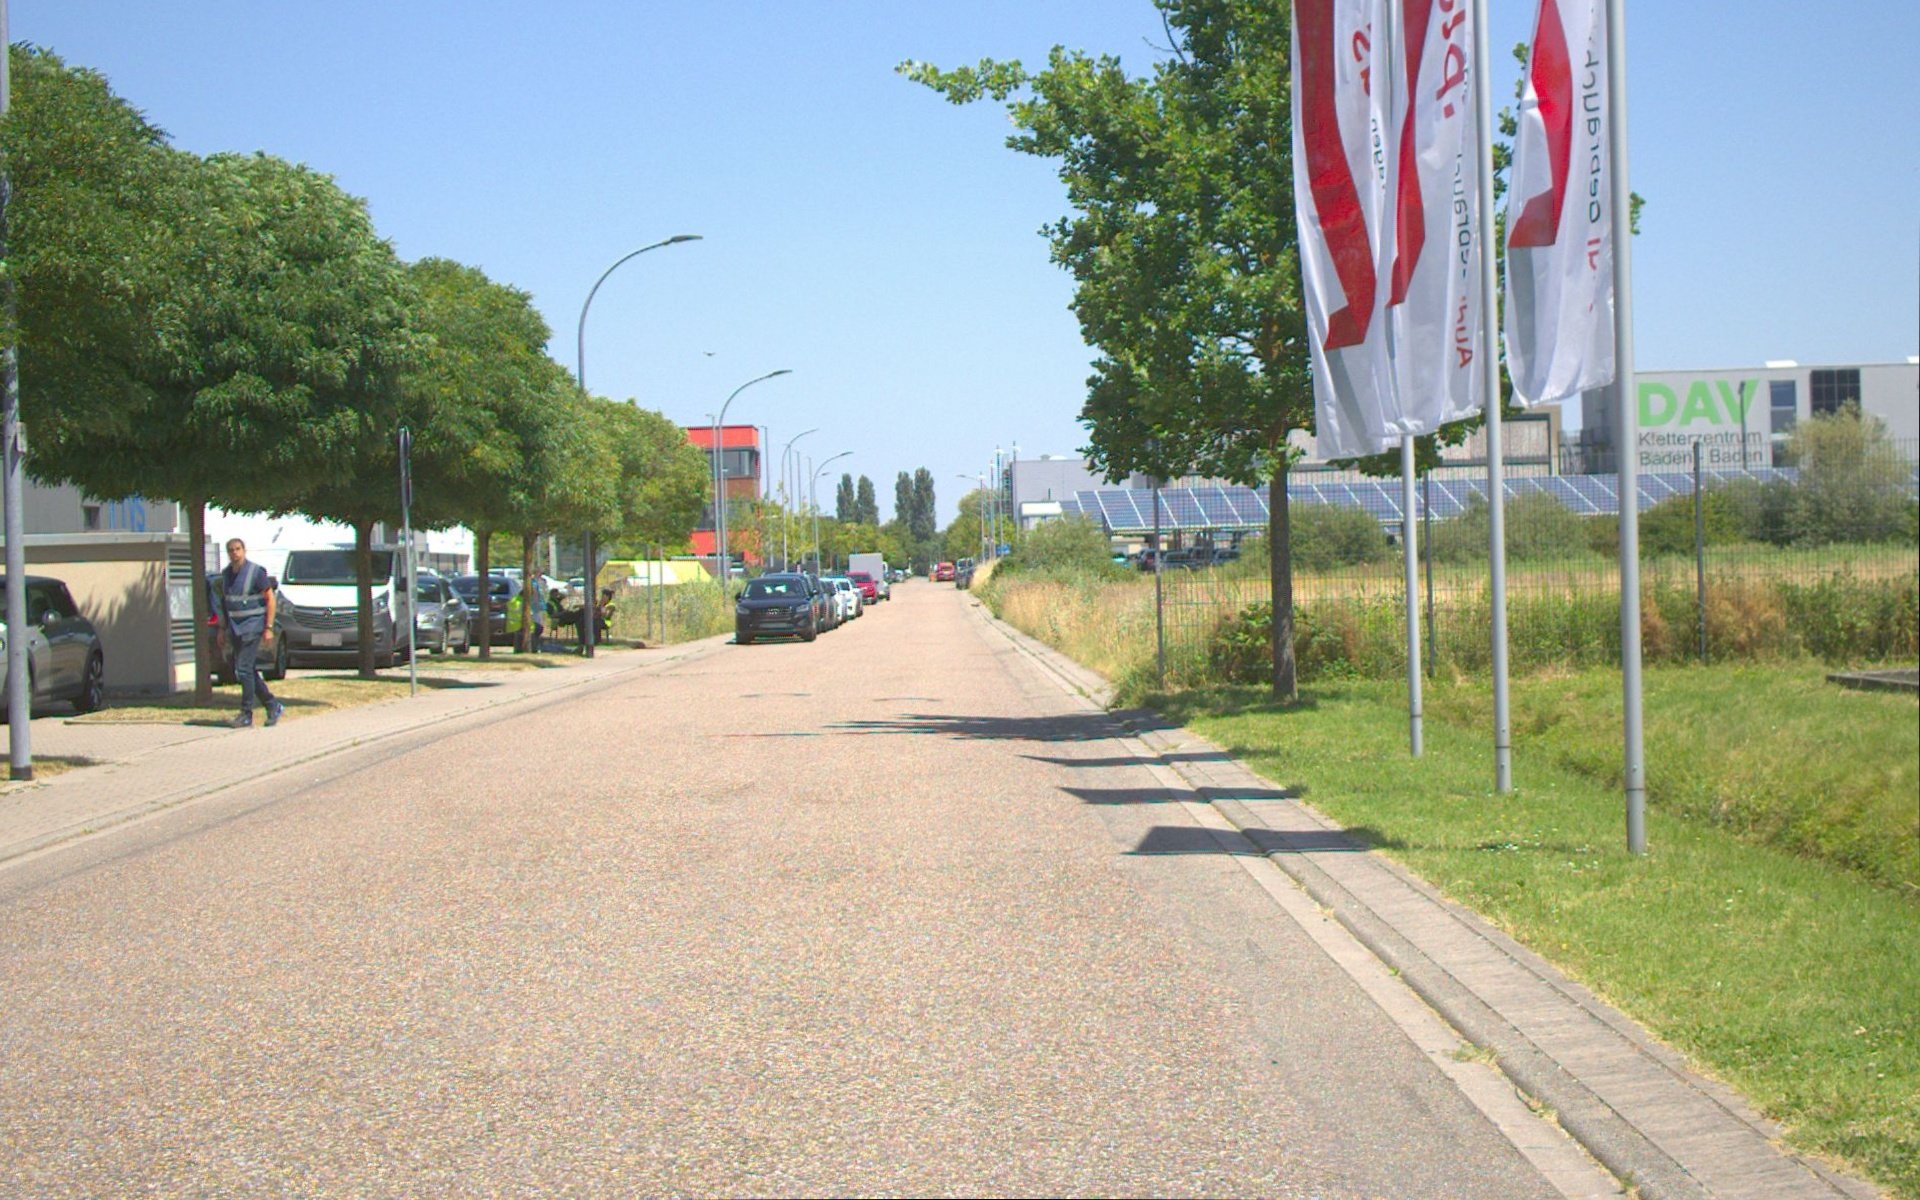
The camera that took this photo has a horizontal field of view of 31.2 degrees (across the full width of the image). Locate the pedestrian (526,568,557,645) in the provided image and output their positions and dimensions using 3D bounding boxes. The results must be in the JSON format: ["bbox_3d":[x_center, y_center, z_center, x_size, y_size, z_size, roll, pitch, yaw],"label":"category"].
[{"bbox_3d":[-8.737,0.135,71.807,0.506,1.590,0.753,1,0,2],"label":"pedestrian"}]

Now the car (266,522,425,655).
[{"bbox_3d":[-9.864,-0.212,55.492,1.837,2.012,5.126,1,1,-2],"label":"car"}]

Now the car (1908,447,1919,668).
[{"bbox_3d":[8.043,-0.304,22.933,2.025,1.687,5.108,-3,1,1],"label":"car"}]

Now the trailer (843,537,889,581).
[{"bbox_3d":[-4.742,-2.065,173.848,2.201,2.130,4.286,-2,0,0],"label":"trailer"}]

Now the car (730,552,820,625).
[{"bbox_3d":[-4.268,-0.285,79.778,1.926,1.562,4.190,-2,1,-1],"label":"car"}]

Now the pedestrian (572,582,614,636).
[{"bbox_3d":[-7.702,0.186,72.168,0.750,1.095,0.646,1,0,4],"label":"pedestrian"}]

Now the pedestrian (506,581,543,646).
[{"bbox_3d":[-7.834,0.245,61.811,0.479,1.146,0.555,1,-2,10],"label":"pedestrian"}]

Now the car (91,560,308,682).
[{"bbox_3d":[-9.832,0.236,44.772,1.765,1.448,4.714,-2,1,0],"label":"car"}]

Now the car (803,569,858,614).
[{"bbox_3d":[-4.608,-0.314,122.642,1.787,1.515,3.983,-2,1,0],"label":"car"}]

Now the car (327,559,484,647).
[{"bbox_3d":[-9.835,0.075,61.306,1.927,1.436,4.841,-2,-1,0],"label":"car"}]

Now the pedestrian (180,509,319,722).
[{"bbox_3d":[-6.700,0.134,32.442,0.842,1.966,0.962,0,1,40],"label":"pedestrian"}]

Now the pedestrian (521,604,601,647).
[{"bbox_3d":[-7.354,0.469,63.418,1.358,0.746,0.753,1,0,2],"label":"pedestrian"}]

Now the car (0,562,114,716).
[{"bbox_3d":[-9.845,0.352,34.420,1.765,1.448,3.840,0,1,1],"label":"car"}]

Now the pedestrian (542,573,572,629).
[{"bbox_3d":[-8.595,0.018,73.316,0.506,1.187,0.753,1,0,2],"label":"pedestrian"}]
